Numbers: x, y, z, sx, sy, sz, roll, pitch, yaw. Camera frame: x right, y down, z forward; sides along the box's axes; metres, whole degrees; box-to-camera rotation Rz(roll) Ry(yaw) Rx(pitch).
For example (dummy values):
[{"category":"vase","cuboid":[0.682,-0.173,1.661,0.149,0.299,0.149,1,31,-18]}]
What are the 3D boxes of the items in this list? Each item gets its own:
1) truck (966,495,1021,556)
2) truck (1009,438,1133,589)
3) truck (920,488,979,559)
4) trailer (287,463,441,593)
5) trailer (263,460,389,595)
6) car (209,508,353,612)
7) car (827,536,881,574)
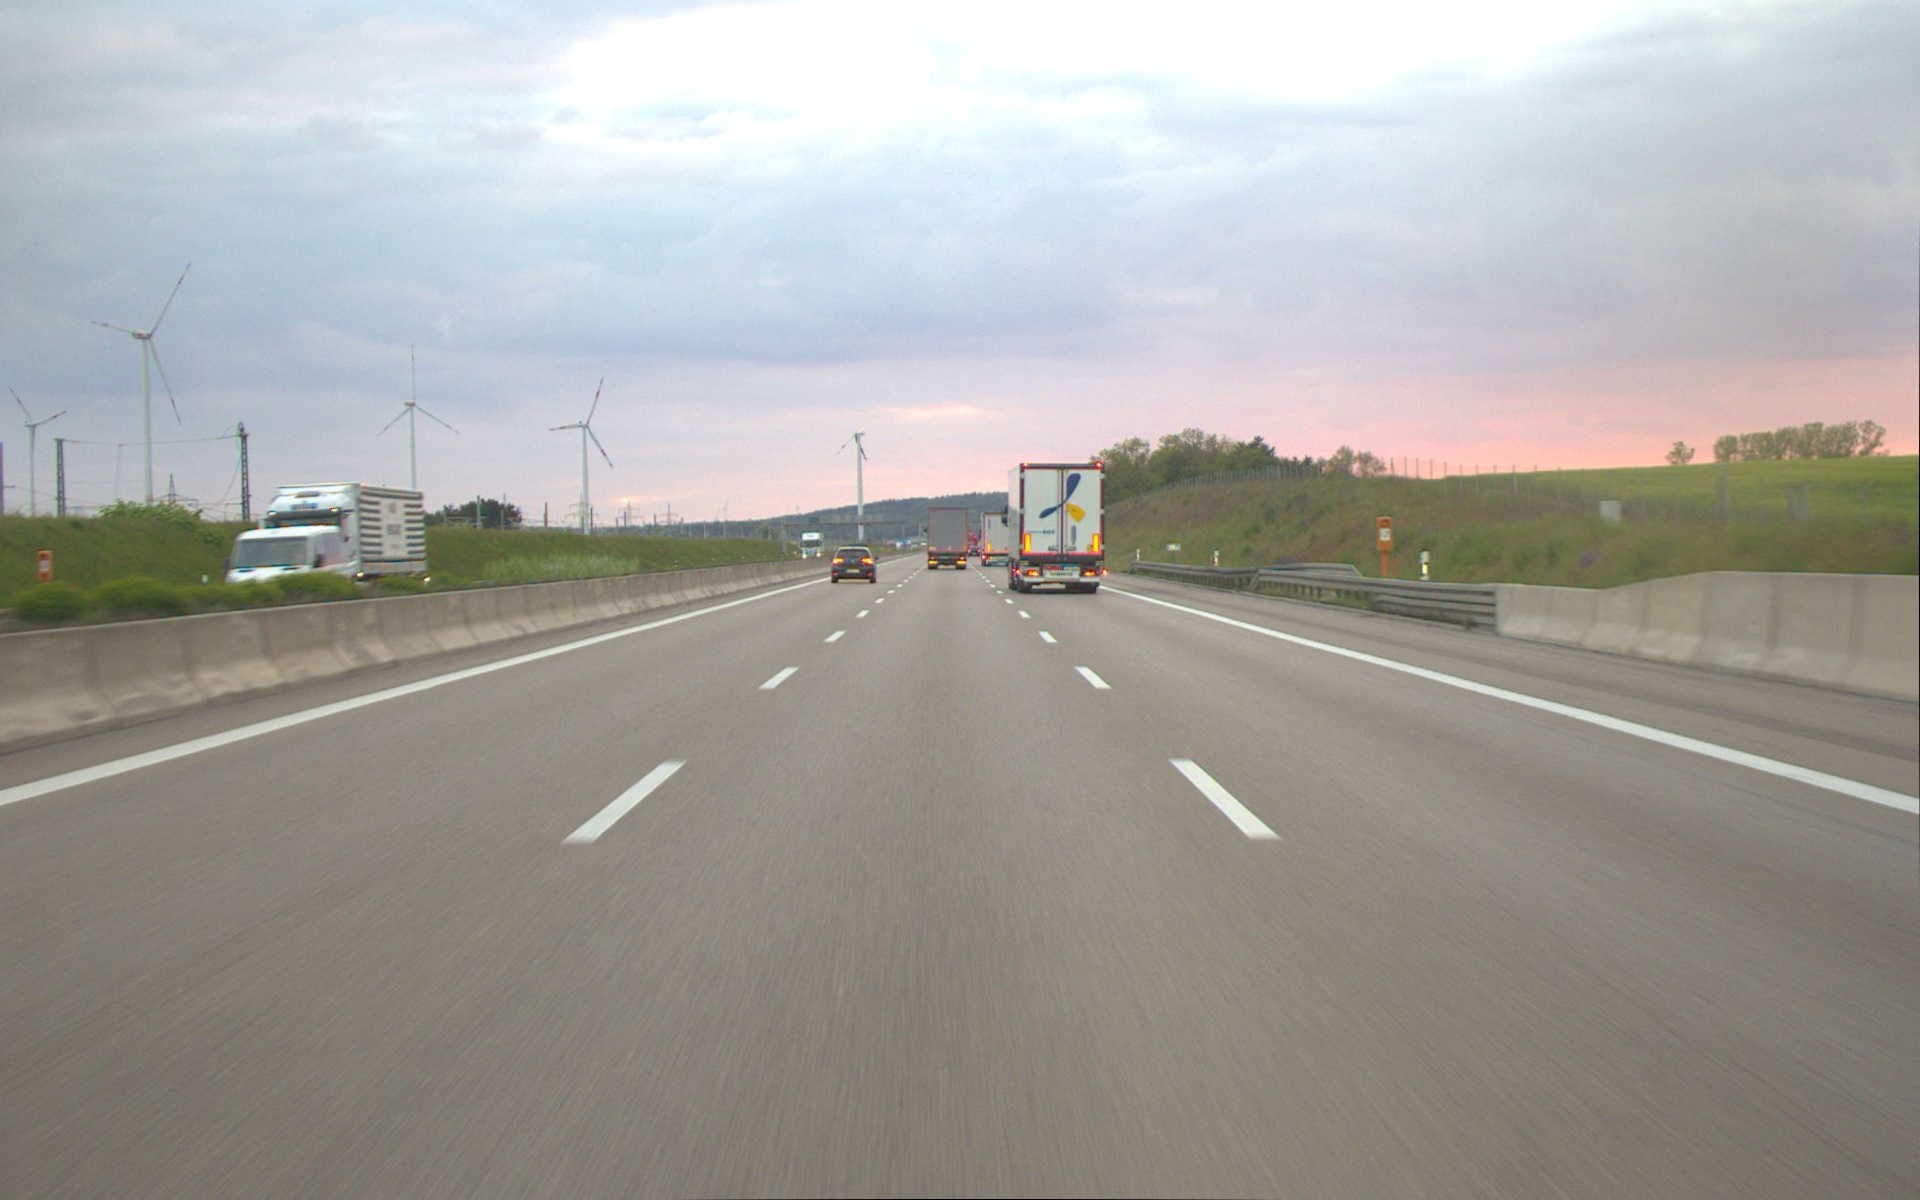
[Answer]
[{"category":"truck","cuboid":[2.471,-5.553,256.729,3.966,4.399,8.636,-1,1,0]},{"category":"truck","cuboid":[3.467,-2.745,110.054,3.675,4.549,10.981,-1,1,1]},{"category":"truck","cuboid":[-0.695,-4.881,220.659,3.647,4.399,8.636,-1,1,0]},{"category":"trailer","cuboid":[-20.415,-2.443,118.684,2.686,4.100,15.110,-2,1,-1]},{"category":"trailer","cuboid":[-20.347,-2.310,110.707,2.686,4.100,6.939,-2,1,-1]},{"category":"car","cuboid":[-16.271,-0.980,82.725,2.127,2.336,6.493,-2,1,0]},{"category":"car","cuboid":[-4.203,-1.786,136.824,1.987,1.425,4.000,-1,1,0]}]
